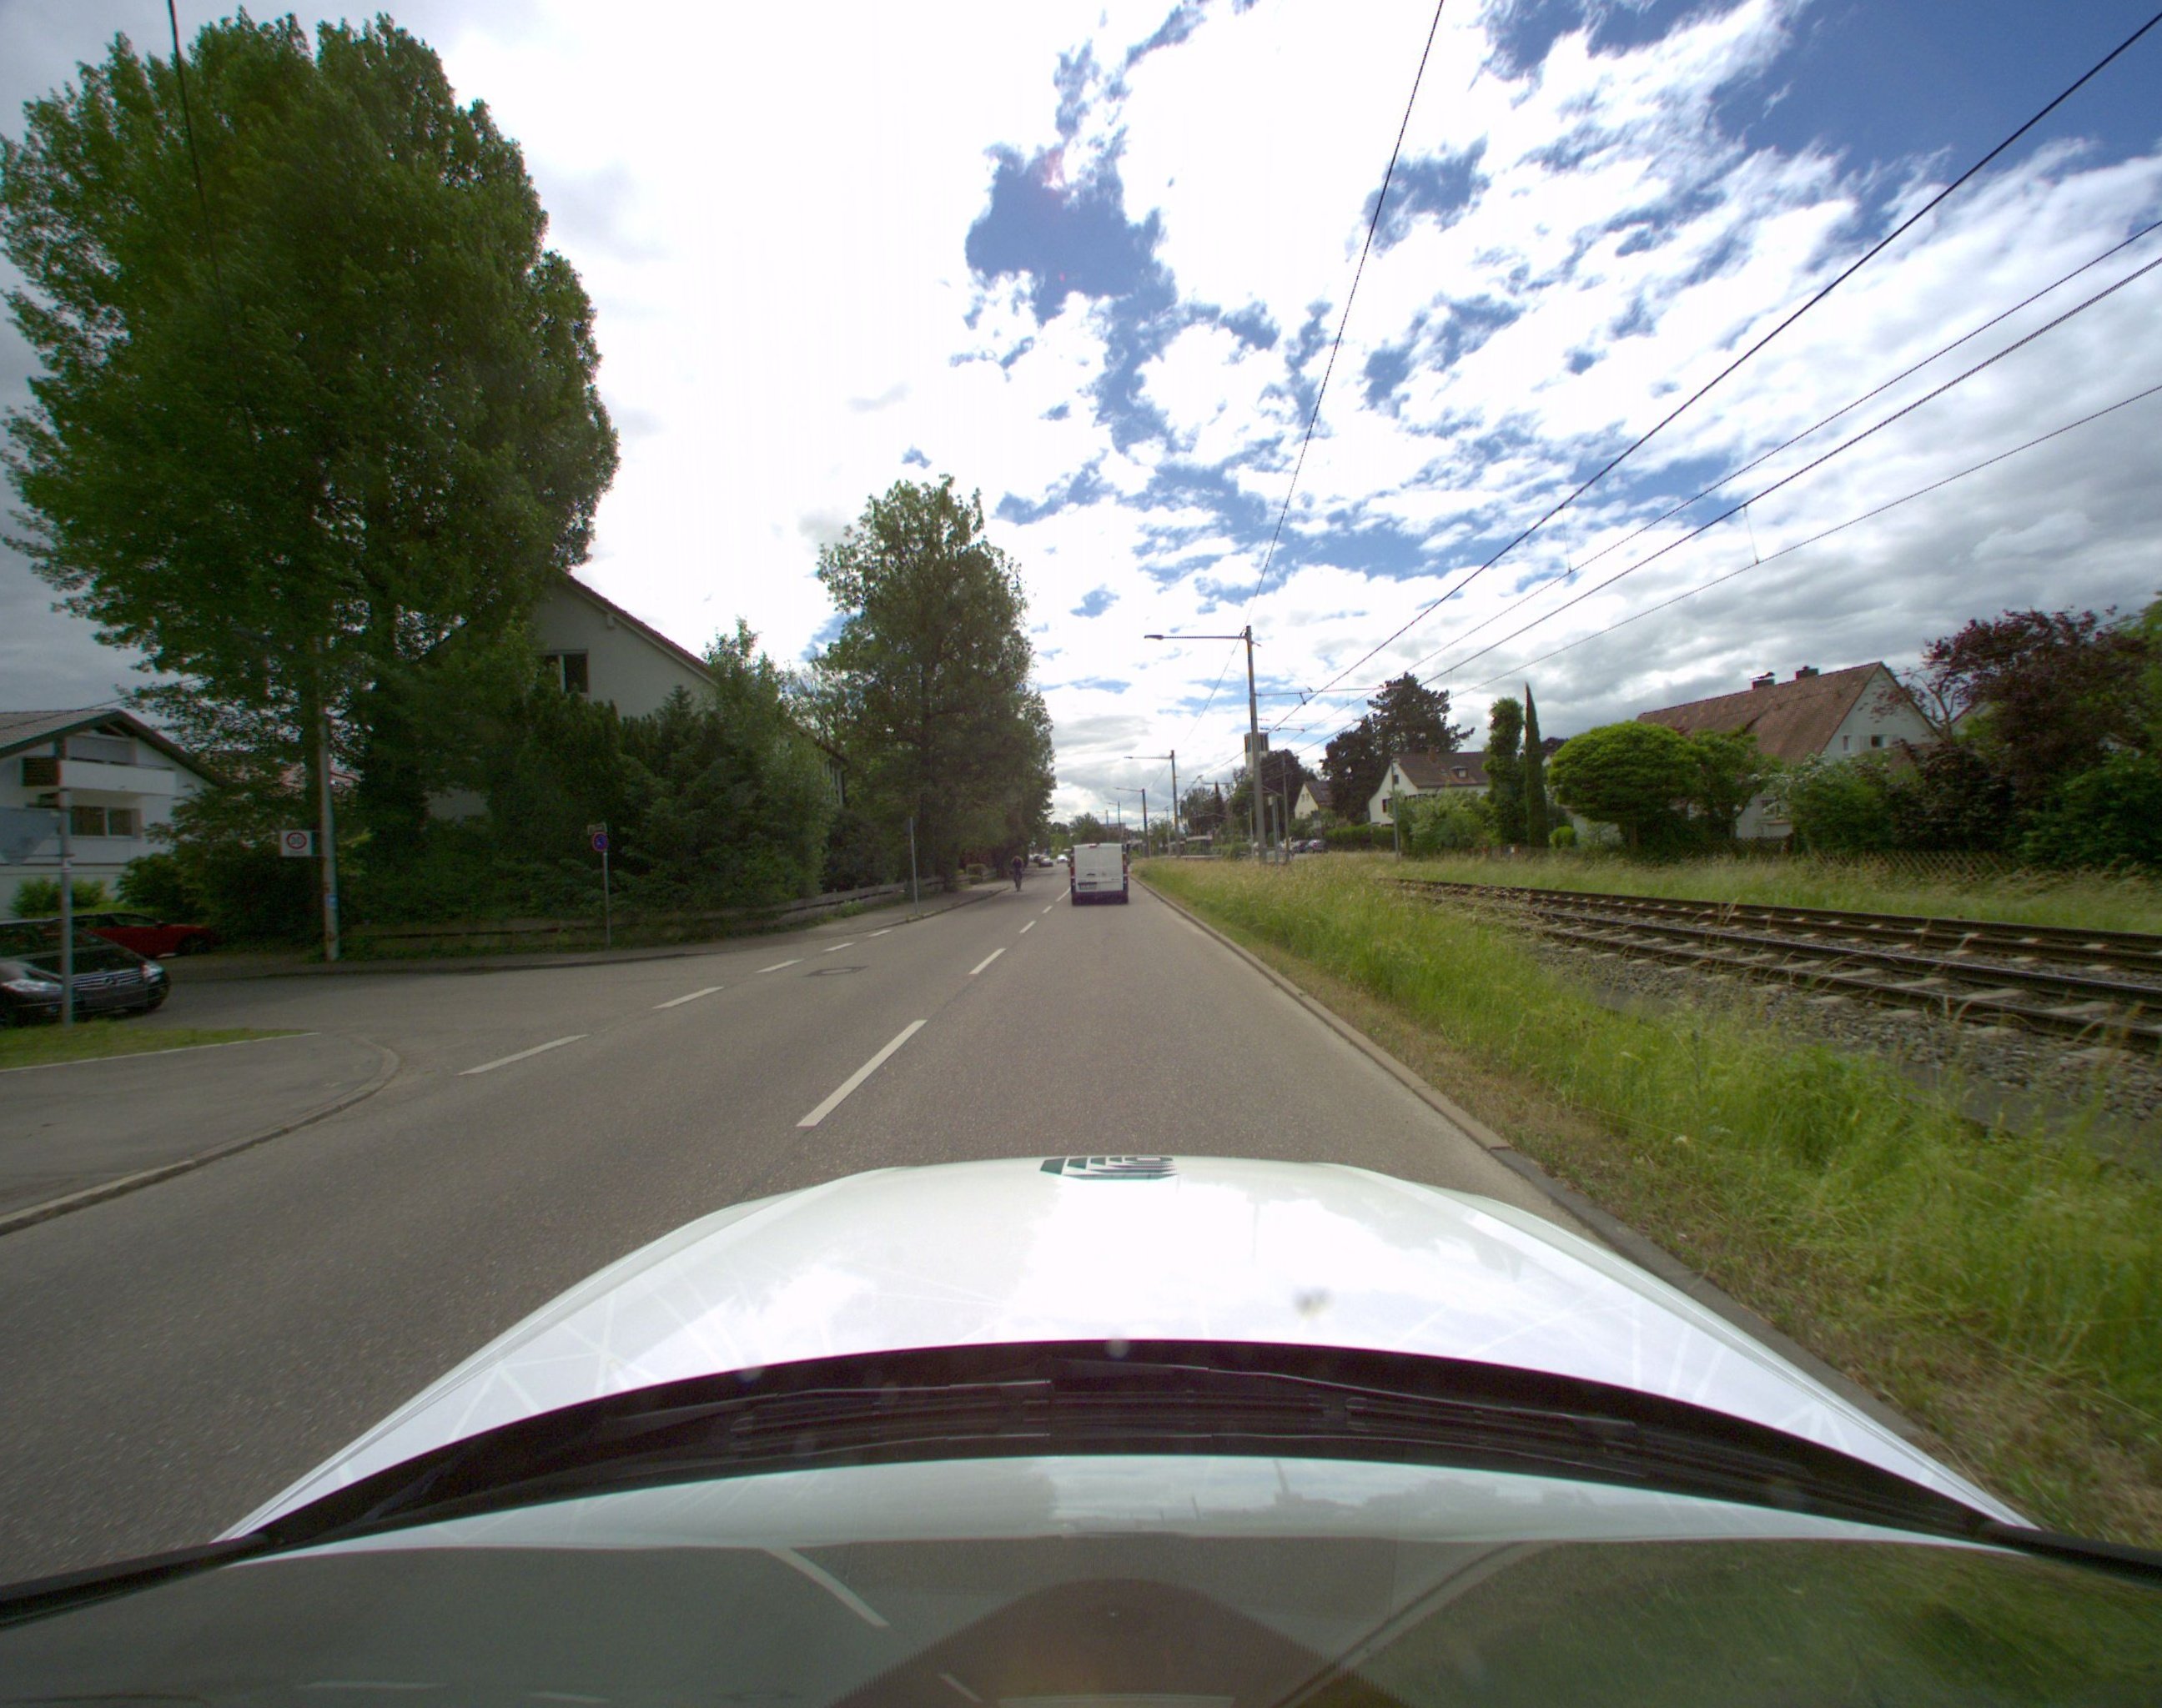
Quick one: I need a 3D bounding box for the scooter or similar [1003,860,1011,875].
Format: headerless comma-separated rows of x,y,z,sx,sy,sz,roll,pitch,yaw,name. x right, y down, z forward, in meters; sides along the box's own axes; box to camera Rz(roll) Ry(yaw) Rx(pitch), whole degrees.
-6.325,1.152,70.000,0.407,1.199,1.640,-3,0,3,scooter or similar

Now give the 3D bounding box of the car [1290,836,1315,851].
25.654,-1.197,94.449,1.876,1.522,4.003,-3,0,2,car

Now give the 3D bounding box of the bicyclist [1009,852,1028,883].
-3.219,0.678,41.918,0.775,1.549,0.870,-3,0,1,bicyclist

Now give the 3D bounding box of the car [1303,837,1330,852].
25.469,-1.006,88.259,1.876,1.522,4.003,-3,0,2,car

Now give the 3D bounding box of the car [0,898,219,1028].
-15.849,1.620,12.148,3.968,1.621,1.970,-3,0,4,car

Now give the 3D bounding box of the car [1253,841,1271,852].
26.803,-1.085,120.933,1.876,1.522,4.003,-3,0,2,car

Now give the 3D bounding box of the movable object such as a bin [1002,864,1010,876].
-5.931,1.246,64.446,0.512,0.945,0.568,-2,0,1,movable object such as a bin

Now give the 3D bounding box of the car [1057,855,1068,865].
-3.060,0.960,135.920,1.689,1.430,3.784,-5,0,-2,car

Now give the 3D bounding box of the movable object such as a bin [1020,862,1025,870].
-6.565,1.324,91.796,0.463,0.930,0.428,1,-1,-16,movable object such as a bin

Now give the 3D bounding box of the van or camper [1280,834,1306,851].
25.787,-1.364,99.279,1.898,1.826,5.051,-3,0,3,van or camper

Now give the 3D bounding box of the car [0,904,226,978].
-26.180,2.275,21.856,1.825,1.388,4.011,-5,1,9,car

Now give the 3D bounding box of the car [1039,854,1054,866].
-4.752,0.799,111.226,1.734,1.504,4.470,-5,0,-5,car

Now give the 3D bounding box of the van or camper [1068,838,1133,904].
0.687,0.533,27.696,1.986,2.014,4.448,-2,0,2,van or camper

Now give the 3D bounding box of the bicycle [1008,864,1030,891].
-3.180,1.191,41.976,0.752,1.226,2.309,-5,0,1,bicycle
